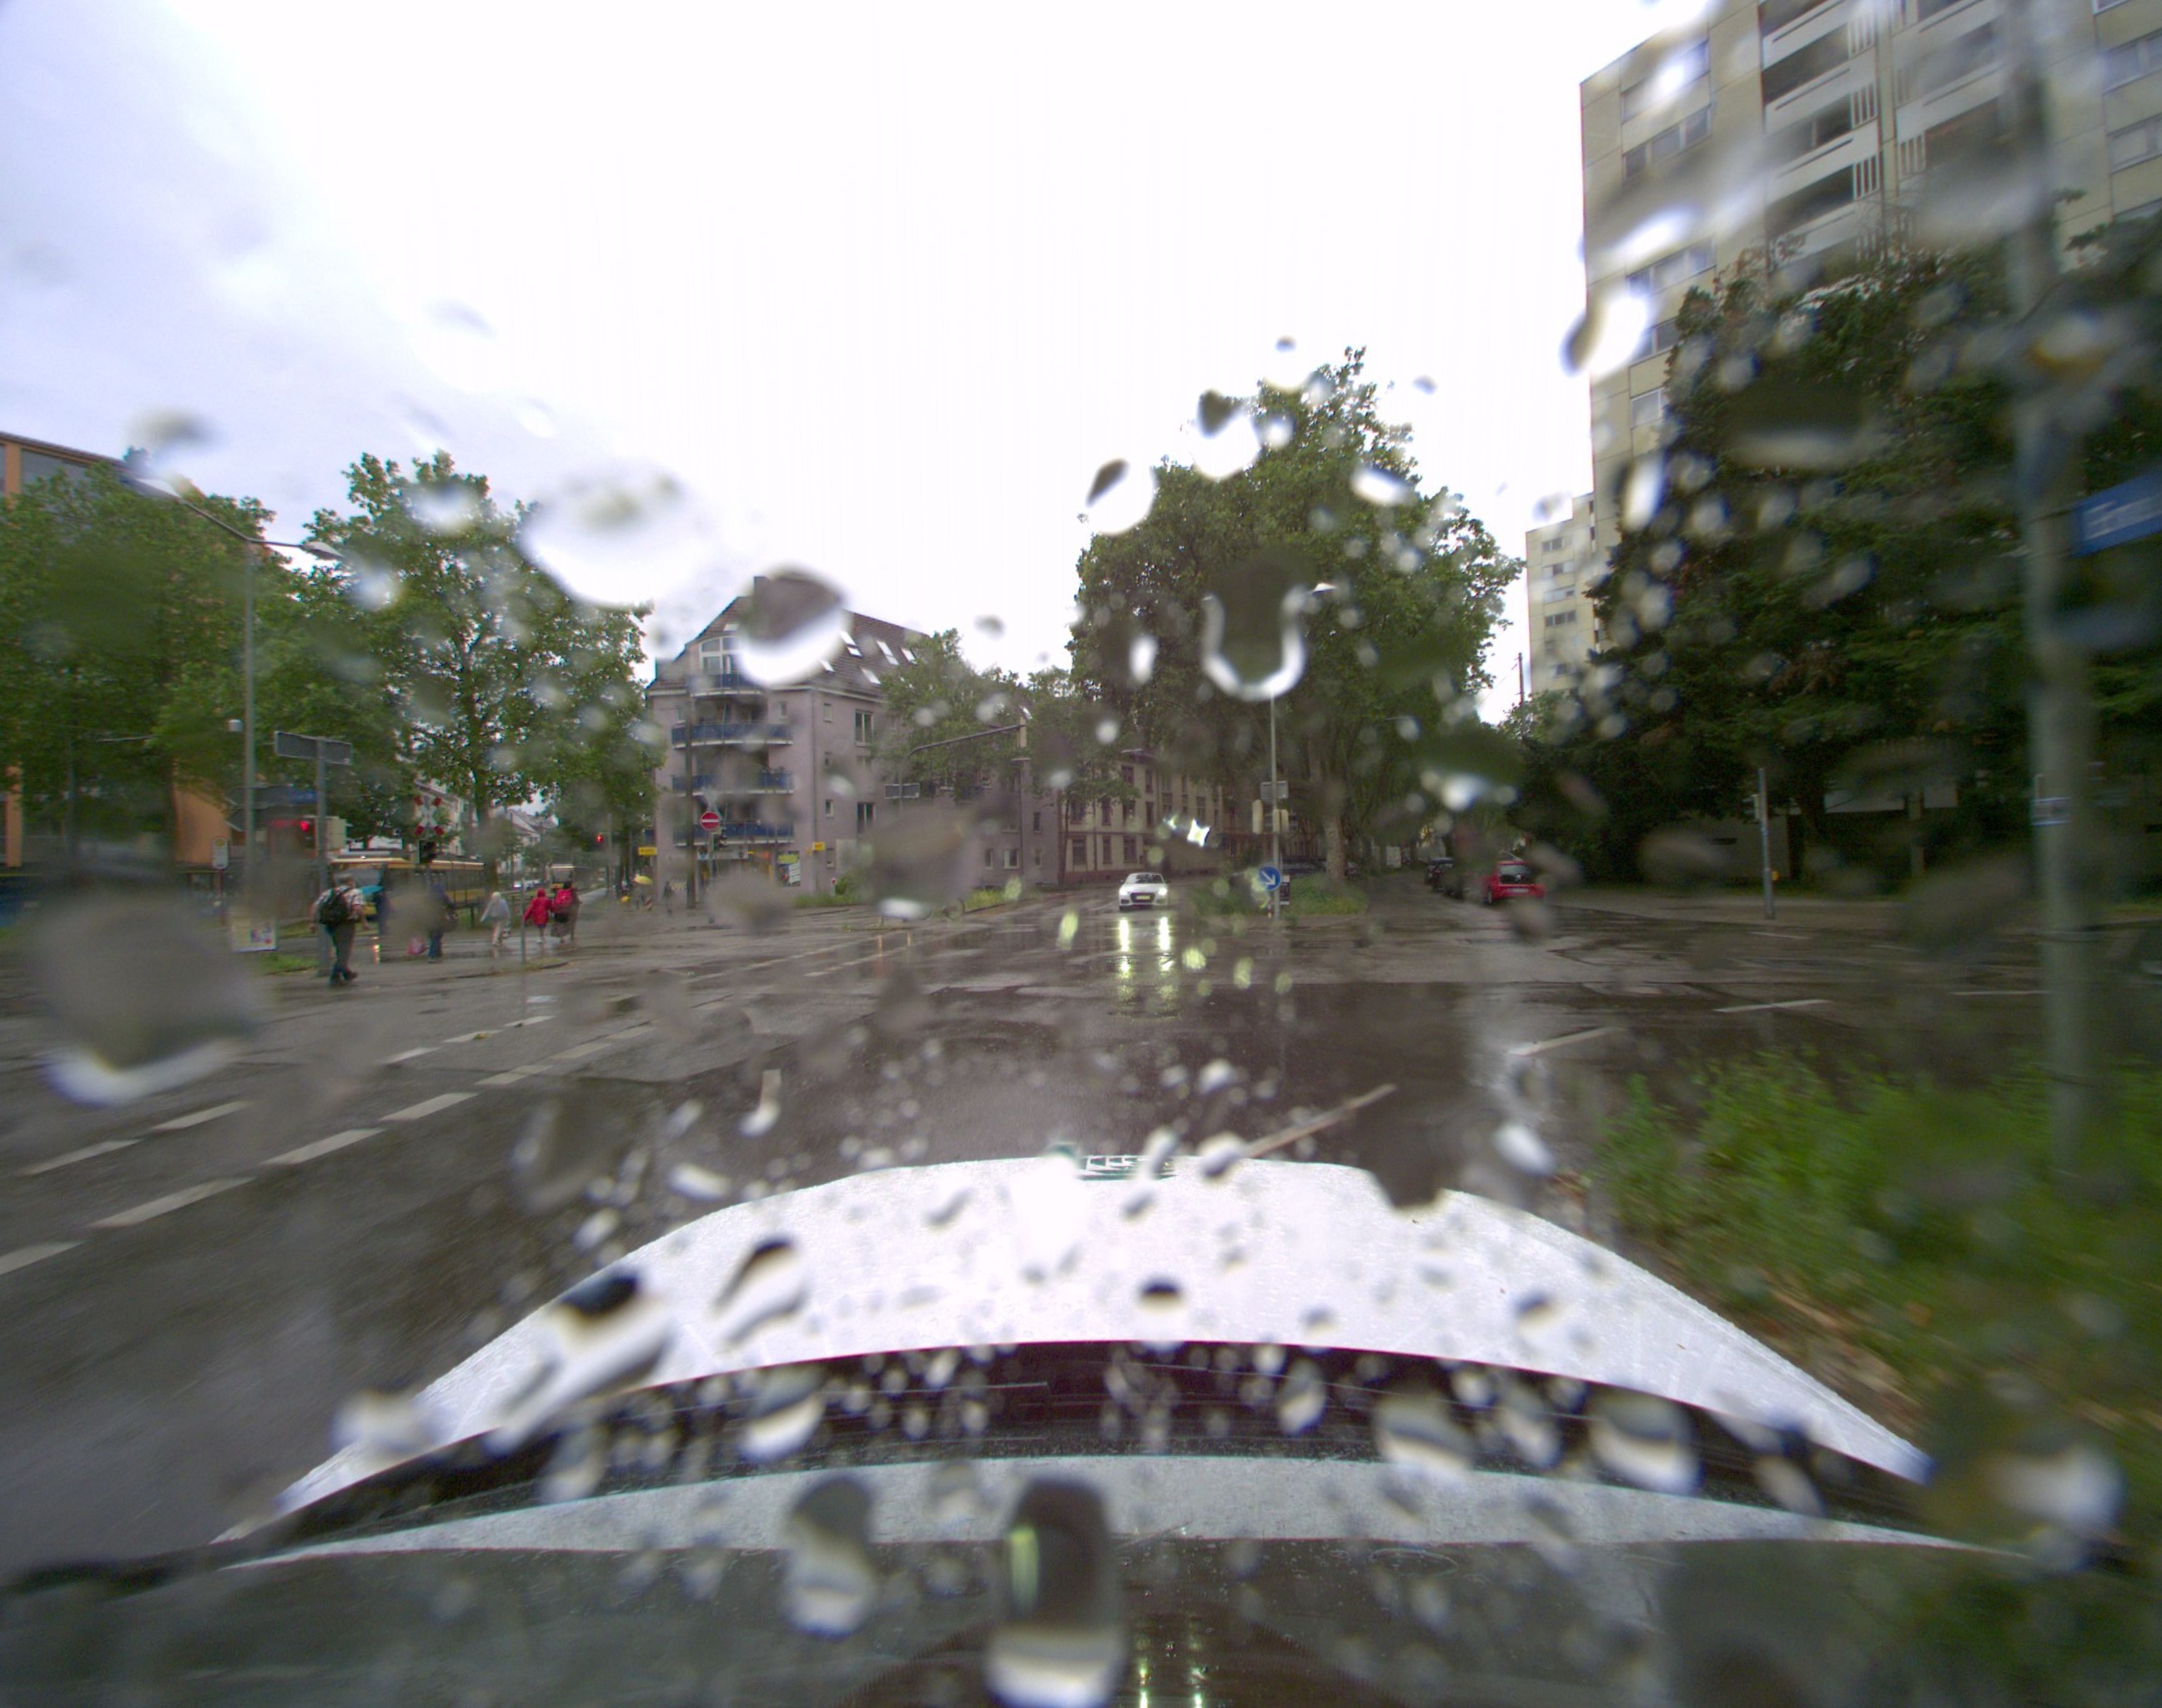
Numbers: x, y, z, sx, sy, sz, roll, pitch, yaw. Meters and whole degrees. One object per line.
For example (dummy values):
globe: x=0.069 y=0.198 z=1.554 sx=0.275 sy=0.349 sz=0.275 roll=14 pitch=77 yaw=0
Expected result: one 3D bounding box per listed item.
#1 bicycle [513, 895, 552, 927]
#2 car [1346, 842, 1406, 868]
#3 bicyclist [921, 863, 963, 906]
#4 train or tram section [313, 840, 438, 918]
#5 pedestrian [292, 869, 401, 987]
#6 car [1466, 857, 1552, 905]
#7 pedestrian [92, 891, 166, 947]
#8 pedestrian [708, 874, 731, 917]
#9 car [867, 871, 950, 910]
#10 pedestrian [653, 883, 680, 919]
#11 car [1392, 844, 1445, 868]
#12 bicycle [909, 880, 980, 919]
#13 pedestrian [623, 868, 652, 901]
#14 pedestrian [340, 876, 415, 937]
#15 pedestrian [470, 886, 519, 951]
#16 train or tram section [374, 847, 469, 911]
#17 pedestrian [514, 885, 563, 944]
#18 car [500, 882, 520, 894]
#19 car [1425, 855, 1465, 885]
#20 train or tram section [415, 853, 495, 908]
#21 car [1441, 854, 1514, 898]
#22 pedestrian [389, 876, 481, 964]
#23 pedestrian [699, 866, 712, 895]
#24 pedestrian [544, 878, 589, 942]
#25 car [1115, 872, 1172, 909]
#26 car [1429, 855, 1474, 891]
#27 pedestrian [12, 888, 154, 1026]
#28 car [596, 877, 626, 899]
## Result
bicycle: x=-19.847 y=2.045 z=29.493 sx=0.444 sy=1.077 sz=1.615 roll=-1 pitch=-1 yaw=-7
car: x=28.614 y=0.135 z=79.137 sx=2.236 sy=2.401 sz=5.561 roll=-1 pitch=-1 yaw=-23
bicyclist: x=-4.368 y=0.955 z=25.575 sx=1.066 sy=1.309 sz=0.745 roll=-2 pitch=0 yaw=12
train or tram section: x=-34.063 y=1.182 z=39.690 sx=2.652 sy=3.369 sz=8.302 roll=-1 pitch=-1 yaw=-27
pedestrian: x=-11.834 y=1.159 z=13.157 sx=0.806 sy=1.781 sz=0.995 roll=-2 pitch=0 yaw=1
car: x=14.491 y=0.892 z=27.756 sx=1.823 sy=1.525 sz=3.474 roll=-2 pitch=-1 yaw=14
pedestrian: x=-32.025 y=2.177 z=27.422 sx=1.231 sy=1.789 sz=1.036 roll=-1 pitch=-1 yaw=-6
pedestrian: x=-15.658 y=1.784 z=35.281 sx=0.637 sy=1.804 sz=0.623 roll=-2 pitch=0 yaw=6
car: x=-7.106 y=1.484 z=34.038 sx=1.976 sy=1.461 sz=4.188 roll=-1 pitch=-1 yaw=9
pedestrian: x=-18.542 y=2.090 z=36.422 sx=0.997 sy=1.559 sz=0.777 roll=-1 pitch=-1 yaw=-29
car: x=39.540 y=0.322 z=95.589 sx=2.004 sy=2.649 sz=5.921 roll=-1 pitch=-1 yaw=-25
bicycle: x=-4.271 y=1.427 z=25.569 sx=2.021 sy=1.173 sz=0.755 roll=-2 pitch=0 yaw=12
pedestrian: x=-24.663 y=1.677 z=45.281 sx=0.883 sy=1.788 sz=1.174 roll=-2 pitch=-1 yaw=43
pedestrian: x=-22.778 y=1.691 z=26.395 sx=1.372 sy=1.865 sz=1.178 roll=-2 pitch=0 yaw=10
pedestrian: x=-14.687 y=1.585 z=20.420 sx=0.881 sy=1.525 sz=1.054 roll=-1 pitch=-1 yaw=-30
train or tram section: x=-37.854 y=1.425 z=47.056 sx=2.652 sy=3.351 sz=8.299 roll=-1 pitch=-1 yaw=-28
pedestrian: x=-13.754 y=1.514 z=20.675 sx=0.672 sy=1.381 sz=1.006 roll=-2 pitch=0 yaw=-12
car: x=-74.388 y=4.420 z=106.104 sx=2.007 sy=1.533 sz=3.959 roll=-1 pitch=-1 yaw=-32
car: x=21.292 y=0.910 z=47.788 sx=1.909 sy=1.633 sz=4.021 roll=-2 pitch=-1 yaw=22
train or tram section: x=-42.116 y=1.754 z=55.105 sx=2.652 sy=3.351 sz=9.896 roll=-1 pitch=-1 yaw=-28
car: x=15.785 y=0.848 z=32.670 sx=1.919 sy=1.608 sz=4.475 roll=-2 pitch=-1 yaw=17
pedestrian: x=-13.317 y=1.337 z=16.817 sx=0.989 sy=1.686 sz=1.056 roll=-2 pitch=0 yaw=1
pedestrian: x=-21.208 y=1.502 z=46.018 sx=0.470 sy=1.602 sz=0.593 roll=-1 pitch=-1 yaw=-3
pedestrian: x=-13.051 y=1.405 z=20.675 sx=0.690 sy=1.548 sz=0.759 roll=-2 pitch=0 yaw=-11
car: x=2.462 y=1.343 z=31.055 sx=1.887 sy=1.275 sz=4.180 roll=-2 pitch=-1 yaw=7
car: x=17.558 y=0.870 z=38.580 sx=1.817 sy=1.596 sz=3.506 roll=-2 pitch=-1 yaw=25
pedestrian: x=-12.275 y=1.233 z=10.046 sx=0.639 sy=1.581 sz=0.863 roll=-2 pitch=0 yaw=0
car: x=-39.016 y=2.778 z=67.675 sx=2.006 sy=1.673 sz=3.962 roll=-2 pitch=-1 yaw=-29
